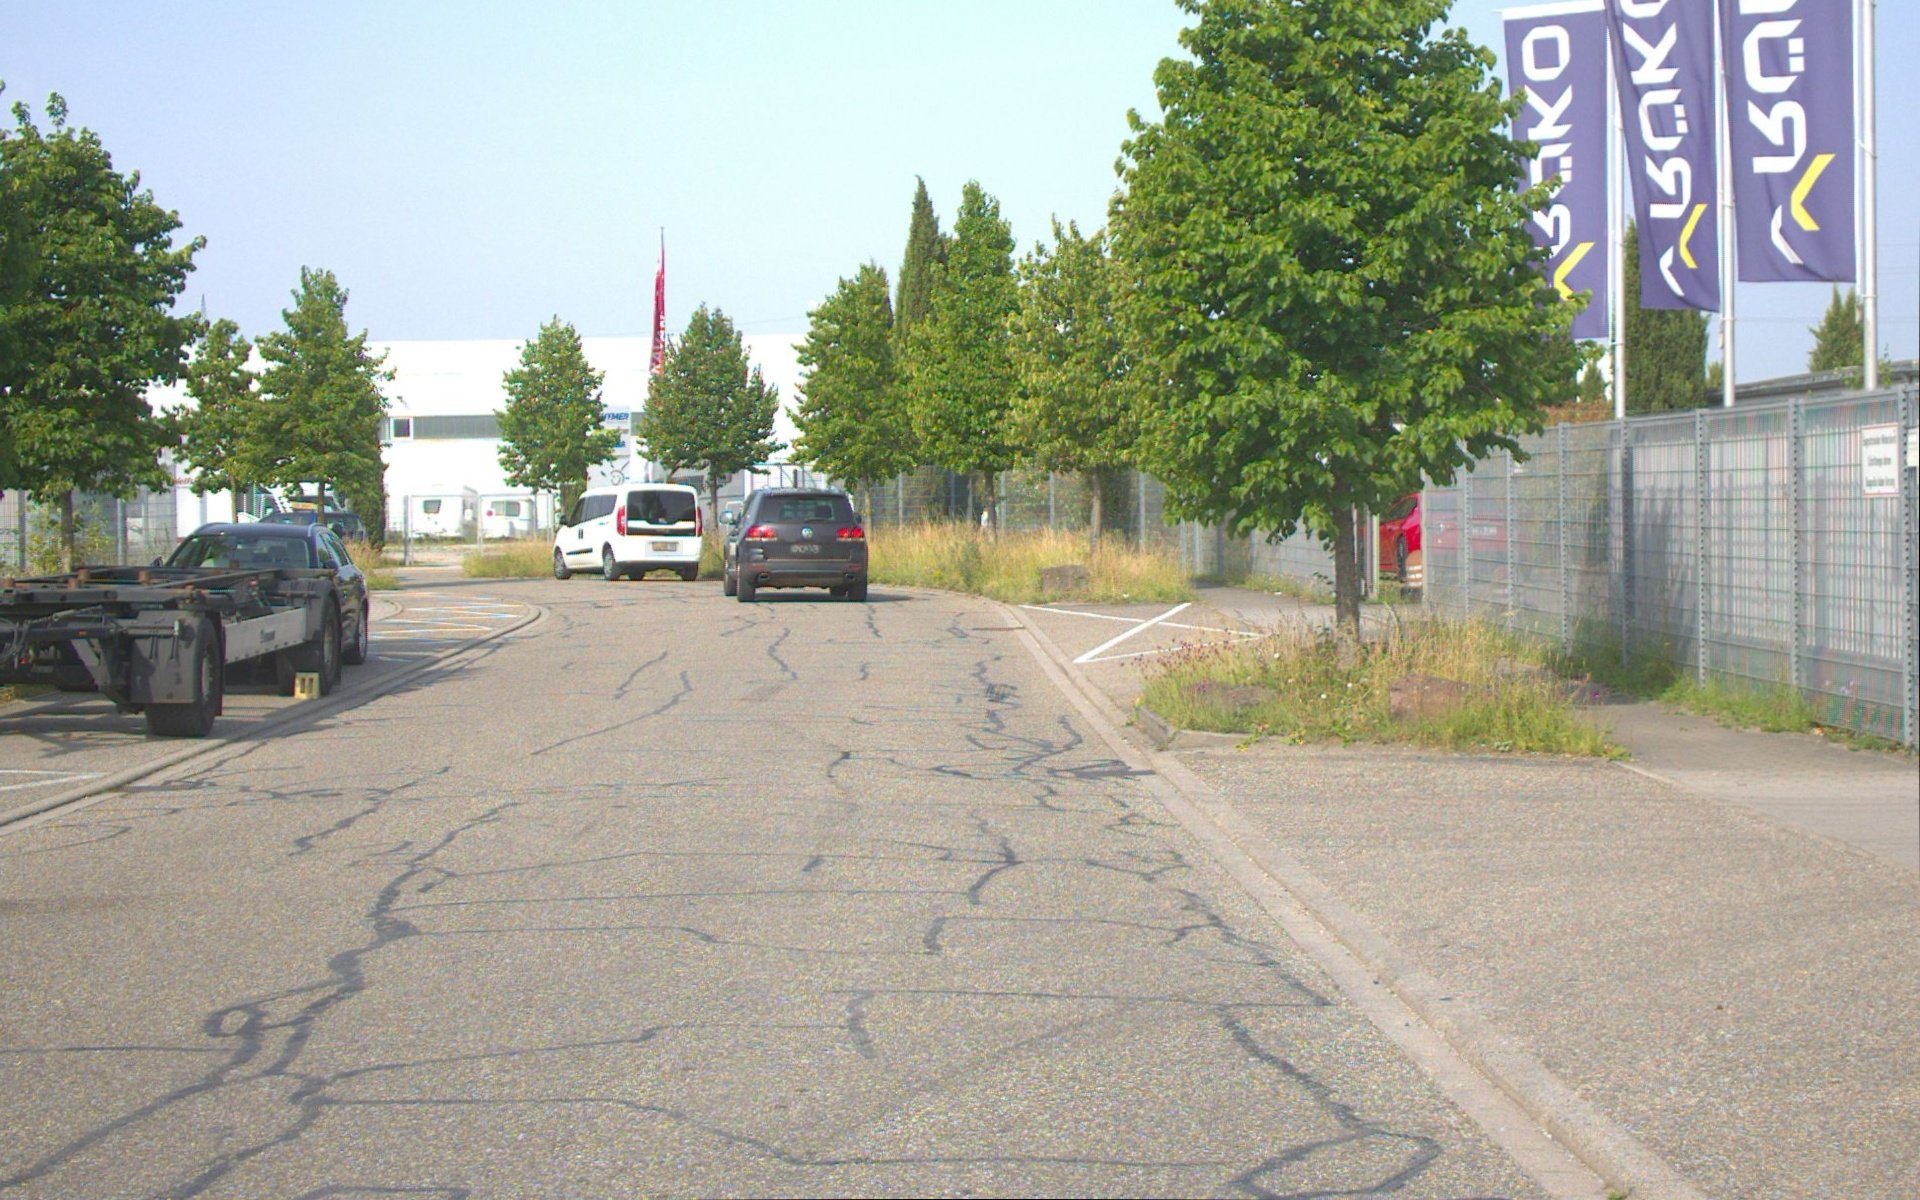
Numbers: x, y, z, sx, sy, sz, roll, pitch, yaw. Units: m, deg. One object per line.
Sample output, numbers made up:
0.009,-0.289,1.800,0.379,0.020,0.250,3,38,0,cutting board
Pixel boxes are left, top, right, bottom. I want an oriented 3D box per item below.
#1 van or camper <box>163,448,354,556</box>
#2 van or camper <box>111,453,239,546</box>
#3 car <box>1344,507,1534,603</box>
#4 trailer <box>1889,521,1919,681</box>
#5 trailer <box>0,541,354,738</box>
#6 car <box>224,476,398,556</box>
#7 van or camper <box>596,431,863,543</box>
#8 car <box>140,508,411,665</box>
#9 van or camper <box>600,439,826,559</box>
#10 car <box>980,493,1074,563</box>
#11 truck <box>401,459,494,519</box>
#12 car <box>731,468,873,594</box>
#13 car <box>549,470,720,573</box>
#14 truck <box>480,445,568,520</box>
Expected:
-19.892,-2.767,97.276,2.331,2.933,6.969,-2,2,-39,van or camper
-26.914,-3.500,118.228,2.798,3.073,7.971,0,2,-2,van or camper
7.280,-0.726,52.702,1.880,1.353,4.774,-1,2,-5,car
8.552,0.038,25.592,1.944,1.239,4.295,-1,2,-2,trailer
-6.623,0.223,28.206,2.130,1.228,7.158,1,2,-1,trailer
-15.305,-1.993,80.954,3.997,1.798,1.995,2,2,42,car
-6.481,-3.154,96.117,7.257,3.021,2.586,-1,1,-7,van or camper
-7.057,-0.193,35.879,1.993,1.461,4.433,1,2,-1,car
-6.167,-2.464,84.672,2.349,2.838,7.342,-1,2,-32,van or camper
1.596,-1.770,83.474,1.722,1.637,4.001,1,2,-7,car
-19.973,-4.355,134.316,2.450,2.257,8.003,0,2,0,truck
-2.340,-1.060,51.673,1.993,1.798,4.001,1,2,-1,car
-6.342,-1.527,66.501,1.993,1.893,4.468,-1,2,-23,car
-16.989,-4.599,134.304,2.450,2.816,8.003,0,2,0,truck
